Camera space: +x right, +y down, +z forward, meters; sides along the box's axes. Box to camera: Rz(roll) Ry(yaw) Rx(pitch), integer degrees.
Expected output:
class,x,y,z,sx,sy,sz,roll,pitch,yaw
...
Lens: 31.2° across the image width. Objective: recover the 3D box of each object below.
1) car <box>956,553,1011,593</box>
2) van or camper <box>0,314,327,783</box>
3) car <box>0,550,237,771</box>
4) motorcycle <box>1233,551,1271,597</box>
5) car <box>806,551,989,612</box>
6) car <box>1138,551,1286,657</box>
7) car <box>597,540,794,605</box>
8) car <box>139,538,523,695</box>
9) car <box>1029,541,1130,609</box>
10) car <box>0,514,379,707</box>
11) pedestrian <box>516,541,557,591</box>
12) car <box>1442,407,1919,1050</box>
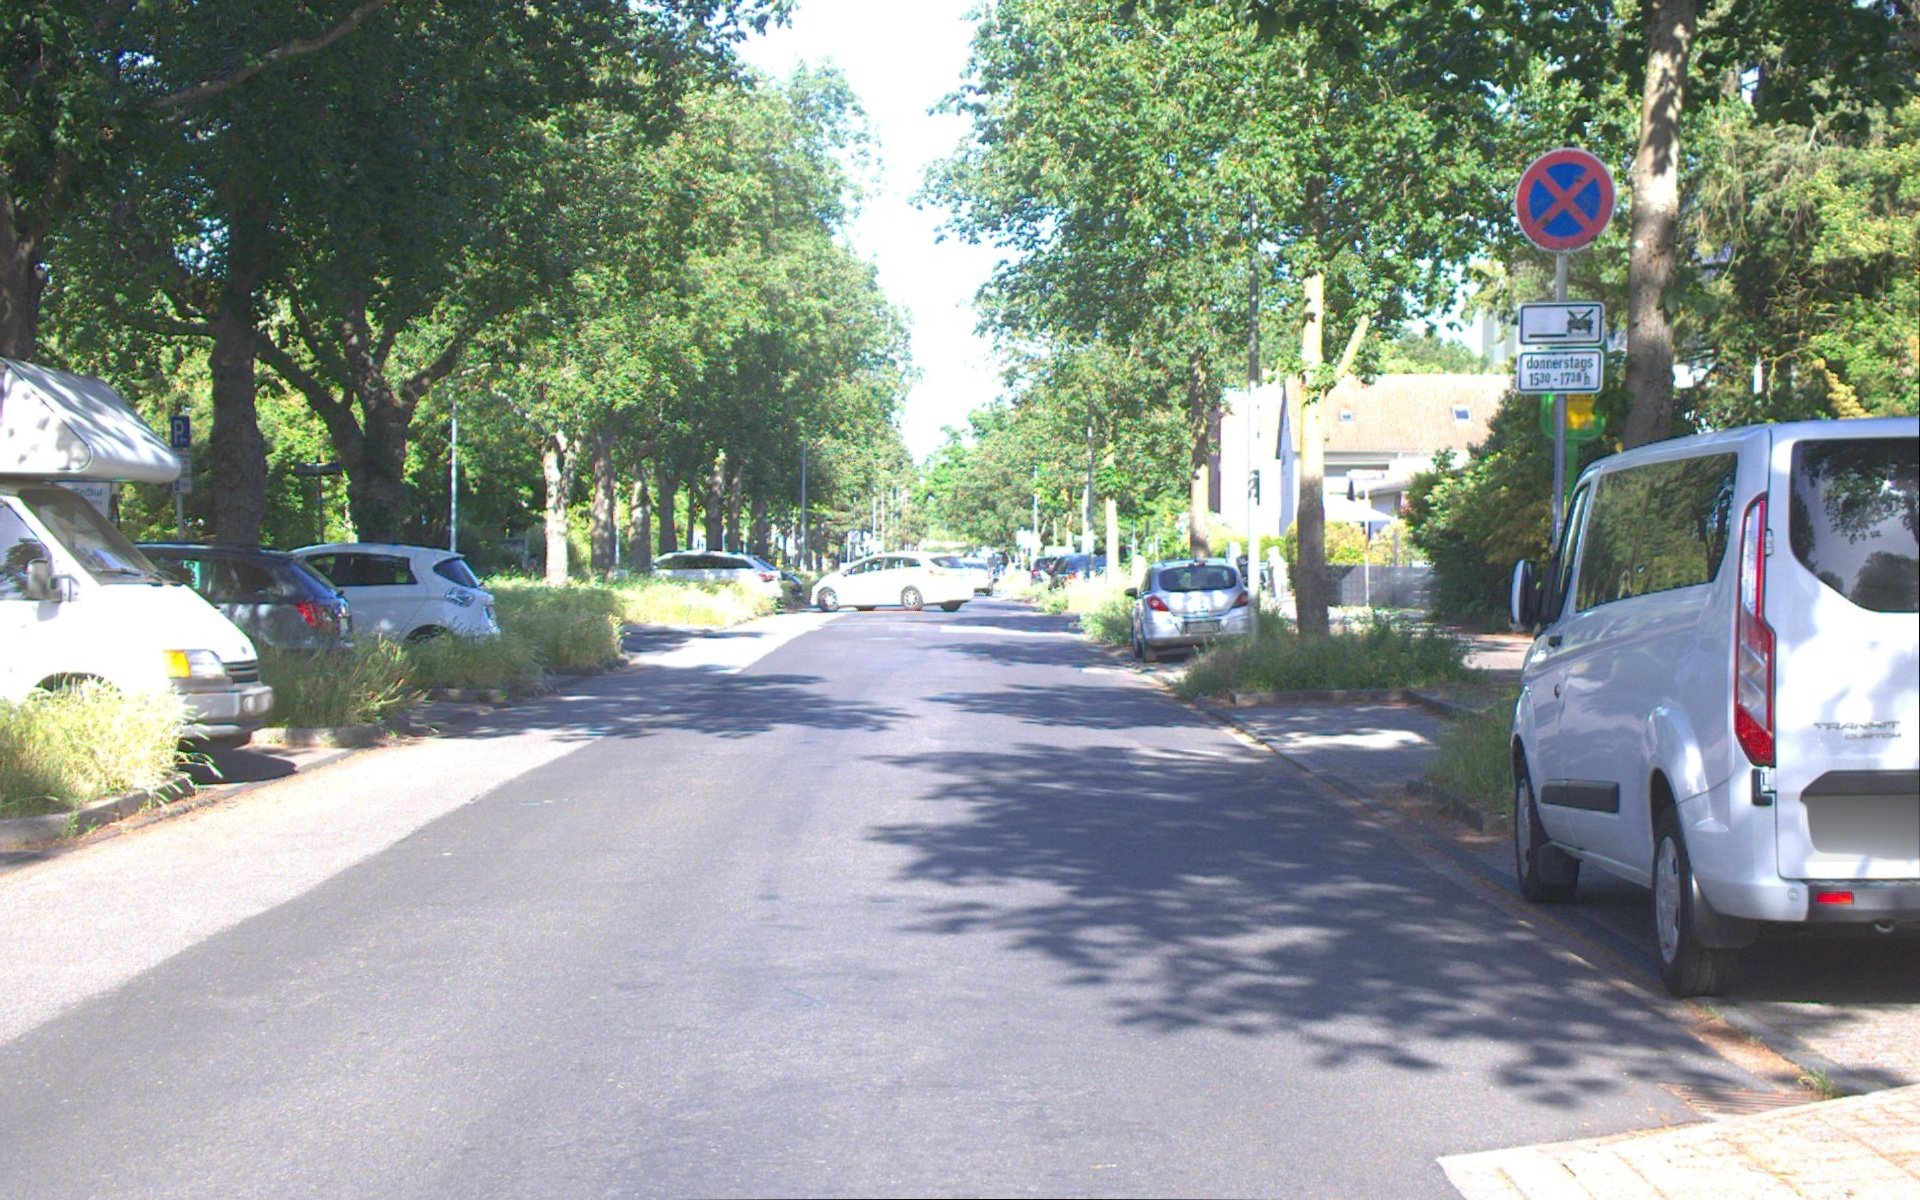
class,x,y,z,sx,sy,sz,roll,pitch,yaw
car,0.943,-1.099,141.270,1.993,1.503,3.659,4,0,-3
van or camper,-7.271,-0.464,22.292,5.776,2.795,2.000,4,0,2
car,-7.524,0.339,25.175,3.987,1.453,2.000,4,0,-1
motorcycle,7.932,-0.724,93.499,0.818,1.223,2.352,-1,1,0
car,-1.583,-0.470,86.485,4.219,1.450,1.996,2,1,35
car,3.768,0.059,50.937,1.994,1.505,3.999,0,0,7
car,-6.543,-0.697,85.295,4.671,1.498,2.000,1,1,2
car,-7.083,0.167,39.033,3.987,1.655,1.967,1,1,-1
car,3.131,-0.672,91.257,1.993,1.616,4.382,4,0,-6
car,-7.772,0.065,33.013,3.987,1.583,2.000,4,0,-1
pedestrian,-15.919,-1.283,129.079,1.224,1.821,1.551,2,0,-17
car,3.381,0.434,13.557,1.993,2.007,5.196,4,0,-1
